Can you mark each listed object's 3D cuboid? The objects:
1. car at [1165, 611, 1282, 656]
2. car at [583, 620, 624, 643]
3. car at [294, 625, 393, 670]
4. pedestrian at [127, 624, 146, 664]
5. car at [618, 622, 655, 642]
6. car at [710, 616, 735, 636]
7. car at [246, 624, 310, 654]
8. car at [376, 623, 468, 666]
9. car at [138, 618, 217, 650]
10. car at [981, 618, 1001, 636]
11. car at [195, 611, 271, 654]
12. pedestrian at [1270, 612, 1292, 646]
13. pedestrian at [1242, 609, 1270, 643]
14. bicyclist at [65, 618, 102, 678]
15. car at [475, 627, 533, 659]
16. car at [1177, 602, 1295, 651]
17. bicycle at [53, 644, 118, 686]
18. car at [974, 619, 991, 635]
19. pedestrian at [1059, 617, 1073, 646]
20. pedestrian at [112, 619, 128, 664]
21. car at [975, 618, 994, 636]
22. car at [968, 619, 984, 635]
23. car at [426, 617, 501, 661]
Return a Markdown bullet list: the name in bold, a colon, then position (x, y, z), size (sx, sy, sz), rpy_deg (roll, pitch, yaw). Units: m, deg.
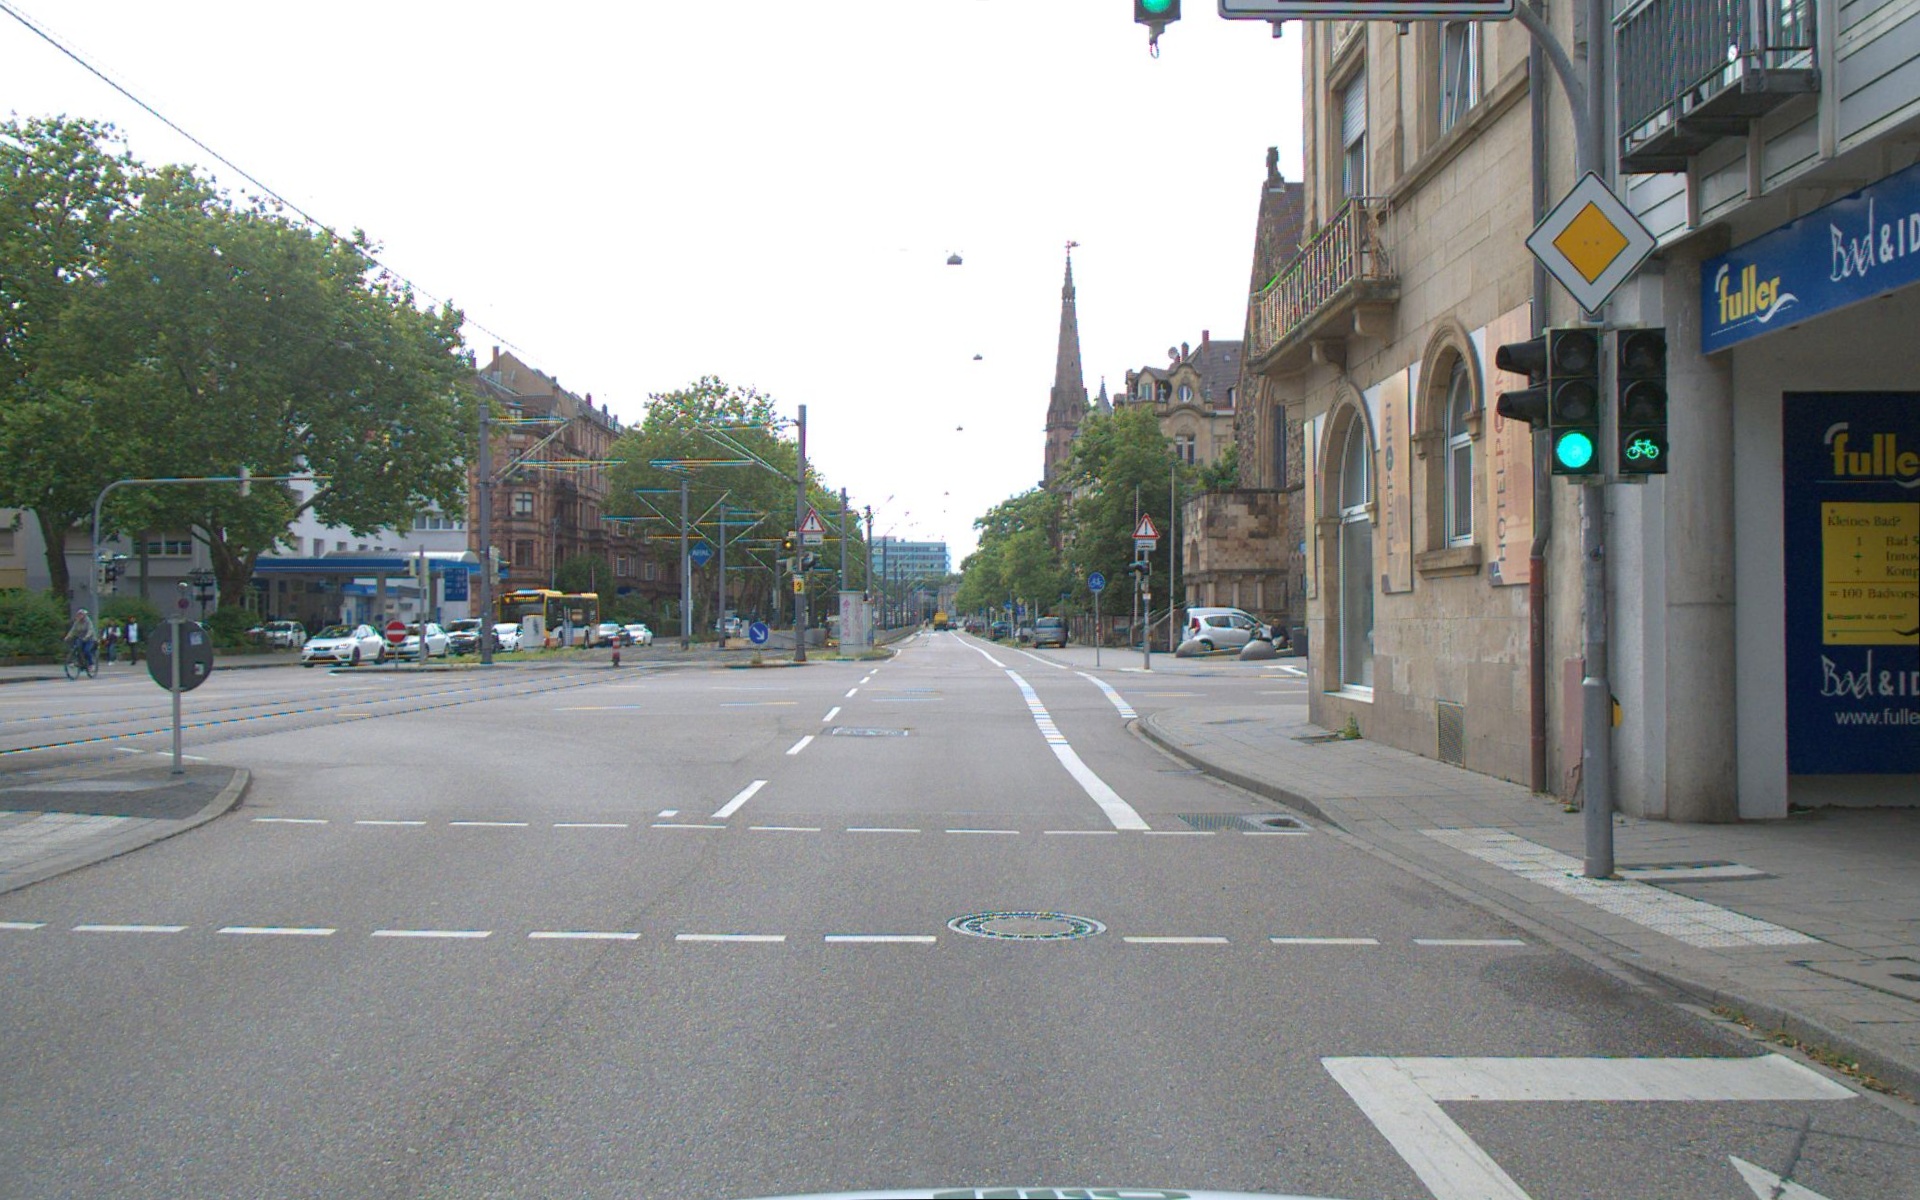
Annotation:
- **car**: position (10.212, 1.304, 64.282), size (4.260, 1.665, 1.662), rpy_deg (1, -1, -1)
- **car**: position (-21.814, 1.906, 101.402), size (1.667, 1.382, 3.890), rpy_deg (1, -1, 0)
- **car**: position (-21.528, 1.642, 57.927), size (1.804, 1.473, 4.412), rpy_deg (1, -1, -1)
- **pedestrian**: position (-27.501, 1.469, 55.233), size (0.446, 1.349, 0.469), rpy_deg (0, -1, -7)
- **car**: position (-21.244, 2.111, 108.644), size (1.667, 1.242, 3.890), rpy_deg (1, -1, 0)
- **car**: position (-21.330, 2.291, 148.400), size (1.667, 1.742, 3.890), rpy_deg (1, -1, 0)
- **car**: position (-32.739, 1.855, 79.470), size (1.667, 1.382, 3.403), rpy_deg (1, -1, 0)
- **car**: position (-21.145, 1.714, 65.269), size (1.803, 1.552, 5.701), rpy_deg (1, -1, -1)
- **car**: position (-37.875, 1.649, 80.173), size (1.953, 1.492, 3.999), rpy_deg (0, -1, -1)
- **car**: position (3.189, 2.796, 171.858), size (1.953, 1.915, 3.999), rpy_deg (0, -1, -1)
- **car**: position (-35.124, 1.548, 80.048), size (1.953, 2.049, 3.999), rpy_deg (0, -1, -1)
- **pedestrian**: position (11.909, 1.081, 61.286), size (0.721, 1.250, 1.063), rpy_deg (1, -1, 14)
- **pedestrian**: position (10.819, 0.941, 60.471), size (0.721, 1.212, 1.493), rpy_deg (1, -1, -1)
- **bicyclist**: position (-24.008, 1.311, 45.298), size (0.571, 1.589, 0.756), rpy_deg (-2, -1, -1)
- **car**: position (-21.493, 2.005, 78.095), size (1.667, 1.422, 3.890), rpy_deg (1, -1, 0)
- **car**: position (11.296, 1.087, 67.827), size (4.517, 1.914, 1.662), rpy_deg (1, -1, -1)
- **bicycle**: position (-24.013, 1.767, 45.437), size (0.712, 1.083, 1.992), rpy_deg (-2, -1, -1)
- **car**: position (2.826, 3.439, 210.019), size (1.953, 1.959, 3.998), rpy_deg (1, -1, -2)
- **pedestrian**: position (6.259, 1.855, 97.850), size (0.760, 1.676, 0.799), rpy_deg (1, -1, 5)
- **pedestrian**: position (-28.023, 1.389, 55.169), size (0.354, 1.505, 0.373), rpy_deg (0, -1, -7)
- **car**: position (2.835, 3.072, 190.179), size (1.953, 2.049, 3.998), rpy_deg (1, -1, -2)
- **car**: position (2.088, 3.534, 217.566), size (1.953, 2.049, 3.998), rpy_deg (1, -1, -2)
- **car**: position (-21.542, 1.664, 71.958), size (1.667, 1.814, 5.149), rpy_deg (1, -1, 0)
